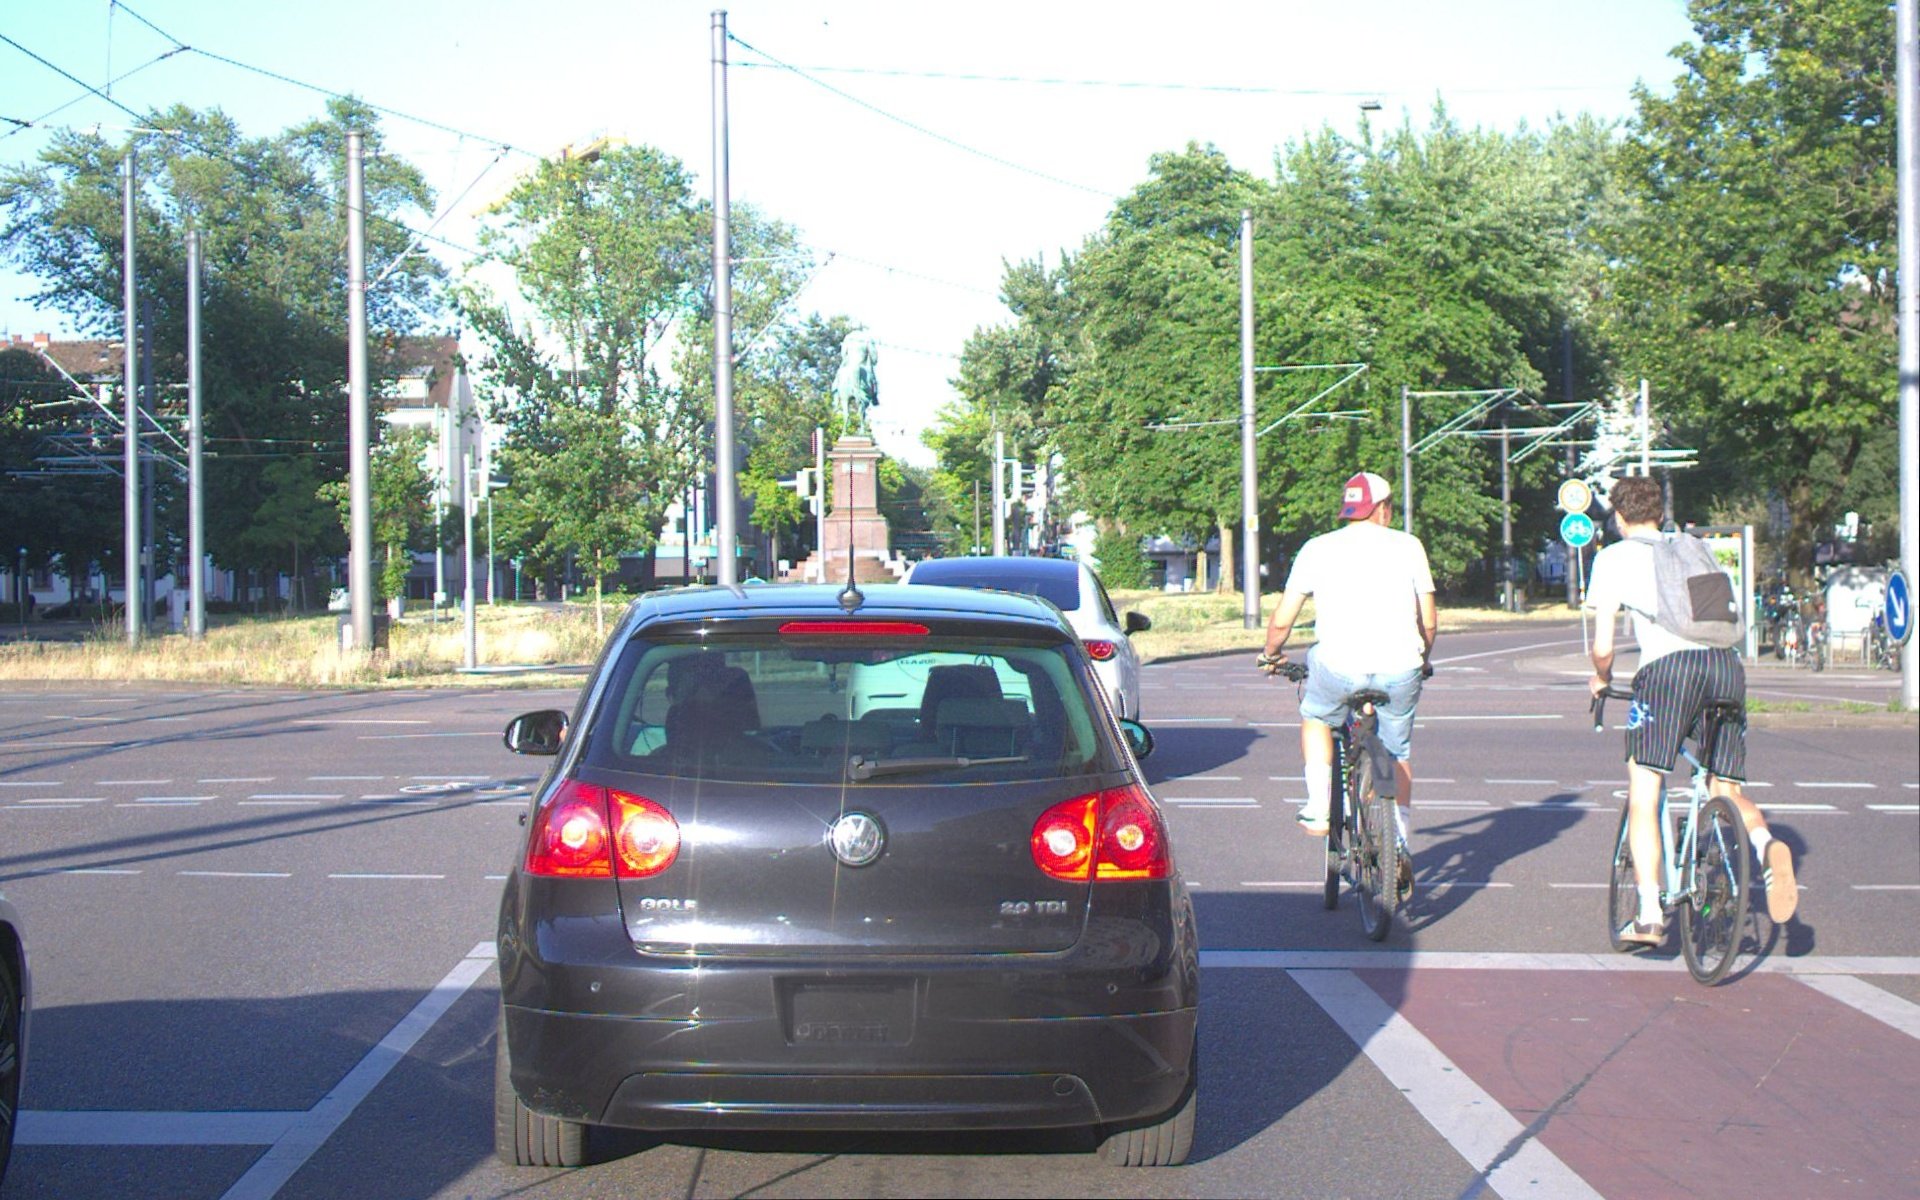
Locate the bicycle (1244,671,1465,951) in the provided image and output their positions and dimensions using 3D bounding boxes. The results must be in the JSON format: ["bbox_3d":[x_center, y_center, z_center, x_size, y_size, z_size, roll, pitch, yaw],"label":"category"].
[{"bbox_3d":[1.614,0.839,14.322,0.478,1.024,1.982,0,1,-6],"label":"bicycle"}]

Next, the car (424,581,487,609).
[{"bbox_3d":[-27.876,-0.261,190.020,3.338,1.502,1.659,0,0,-3],"label":"car"}]

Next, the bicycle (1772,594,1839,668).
[{"bbox_3d":[13.472,0.485,54.825,0.645,1.123,1.874,0,1,1],"label":"bicycle"}]

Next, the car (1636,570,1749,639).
[{"bbox_3d":[16.773,0.085,78.628,1.730,1.467,3.894,-3,-1,23],"label":"car"}]

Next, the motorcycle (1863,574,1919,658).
[{"bbox_3d":[16.332,0.266,57.987,2.044,1.401,0.760,0,1,8],"label":"motorcycle"}]

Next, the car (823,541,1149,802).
[{"bbox_3d":[0.269,0.397,22.775,1.865,1.436,4.197,-2,2,4],"label":"car"}]

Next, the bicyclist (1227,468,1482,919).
[{"bbox_3d":[1.622,0.368,14.294,0.826,1.801,1.057,0,0,-7],"label":"bicyclist"}]

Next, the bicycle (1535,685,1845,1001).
[{"bbox_3d":[2.682,0.862,12.820,0.575,1.024,1.857,0,1,-6],"label":"bicycle"}]

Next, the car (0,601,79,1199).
[{"bbox_3d":[-3.089,0.695,6.112,1.837,1.396,4.584,2,1,0],"label":"car"}]

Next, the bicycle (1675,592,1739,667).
[{"bbox_3d":[11.900,0.459,54.791,0.645,1.123,1.874,0,1,1],"label":"bicycle"}]

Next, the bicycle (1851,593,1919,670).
[{"bbox_3d":[14.786,0.486,54.805,0.645,1.154,2.124,0,1,1],"label":"bicycle"}]

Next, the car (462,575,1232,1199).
[{"bbox_3d":[-0.422,0.663,9.854,1.747,1.456,4.104,0,1,-5],"label":"car"}]

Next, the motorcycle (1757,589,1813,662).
[{"bbox_3d":[14.383,0.436,59.983,0.666,1.238,2.200,0,1,6],"label":"motorcycle"}]

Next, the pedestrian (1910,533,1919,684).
[{"bbox_3d":[11.154,0.093,38.731,0.662,1.698,1.071,0,1,5],"label":"pedestrian"}]

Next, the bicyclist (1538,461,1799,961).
[{"bbox_3d":[2.641,0.393,12.899,0.674,1.801,0.994,0,0,-7],"label":"bicyclist"}]
